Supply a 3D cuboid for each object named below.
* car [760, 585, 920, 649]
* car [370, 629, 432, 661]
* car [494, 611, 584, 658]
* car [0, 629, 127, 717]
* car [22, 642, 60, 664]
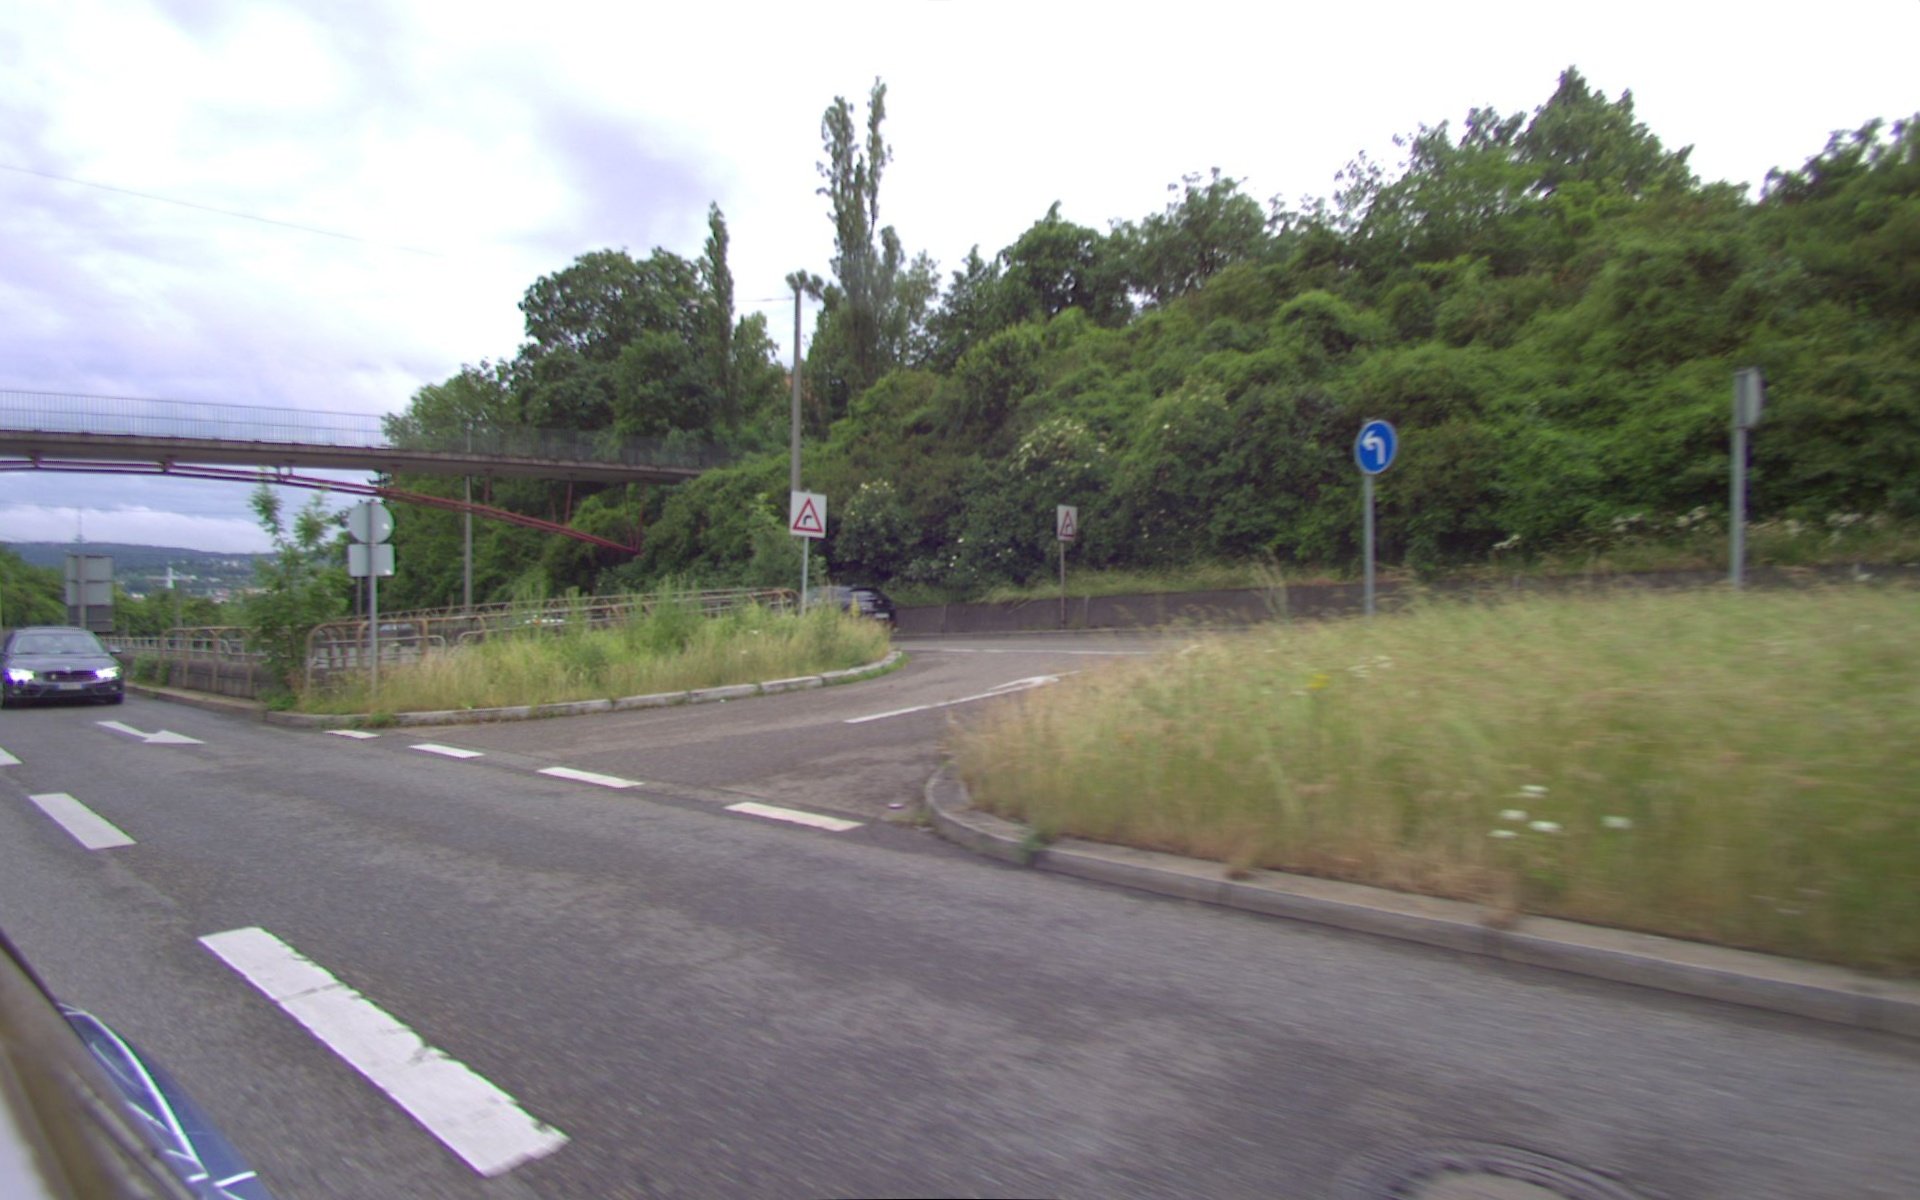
[{"bbox_3d":[-3.557,0.485,29.373,4.722,1.649,1.972,-2,1,43],"label":"car"},{"bbox_3d":[-31.565,2.524,57.094,1.969,1.734,4.709,3,-4,-43],"label":"car"},{"bbox_3d":[-18.057,1.459,43.305,1.970,1.848,4.633,0,-1,-44],"label":"car"},{"bbox_3d":[-17.324,1.329,19.280,3.887,1.482,1.707,-3,-2,42],"label":"car"},{"bbox_3d":[-70.637,4.068,77.838,1.782,1.521,4.008,-1,-1,-38],"label":"car"}]
